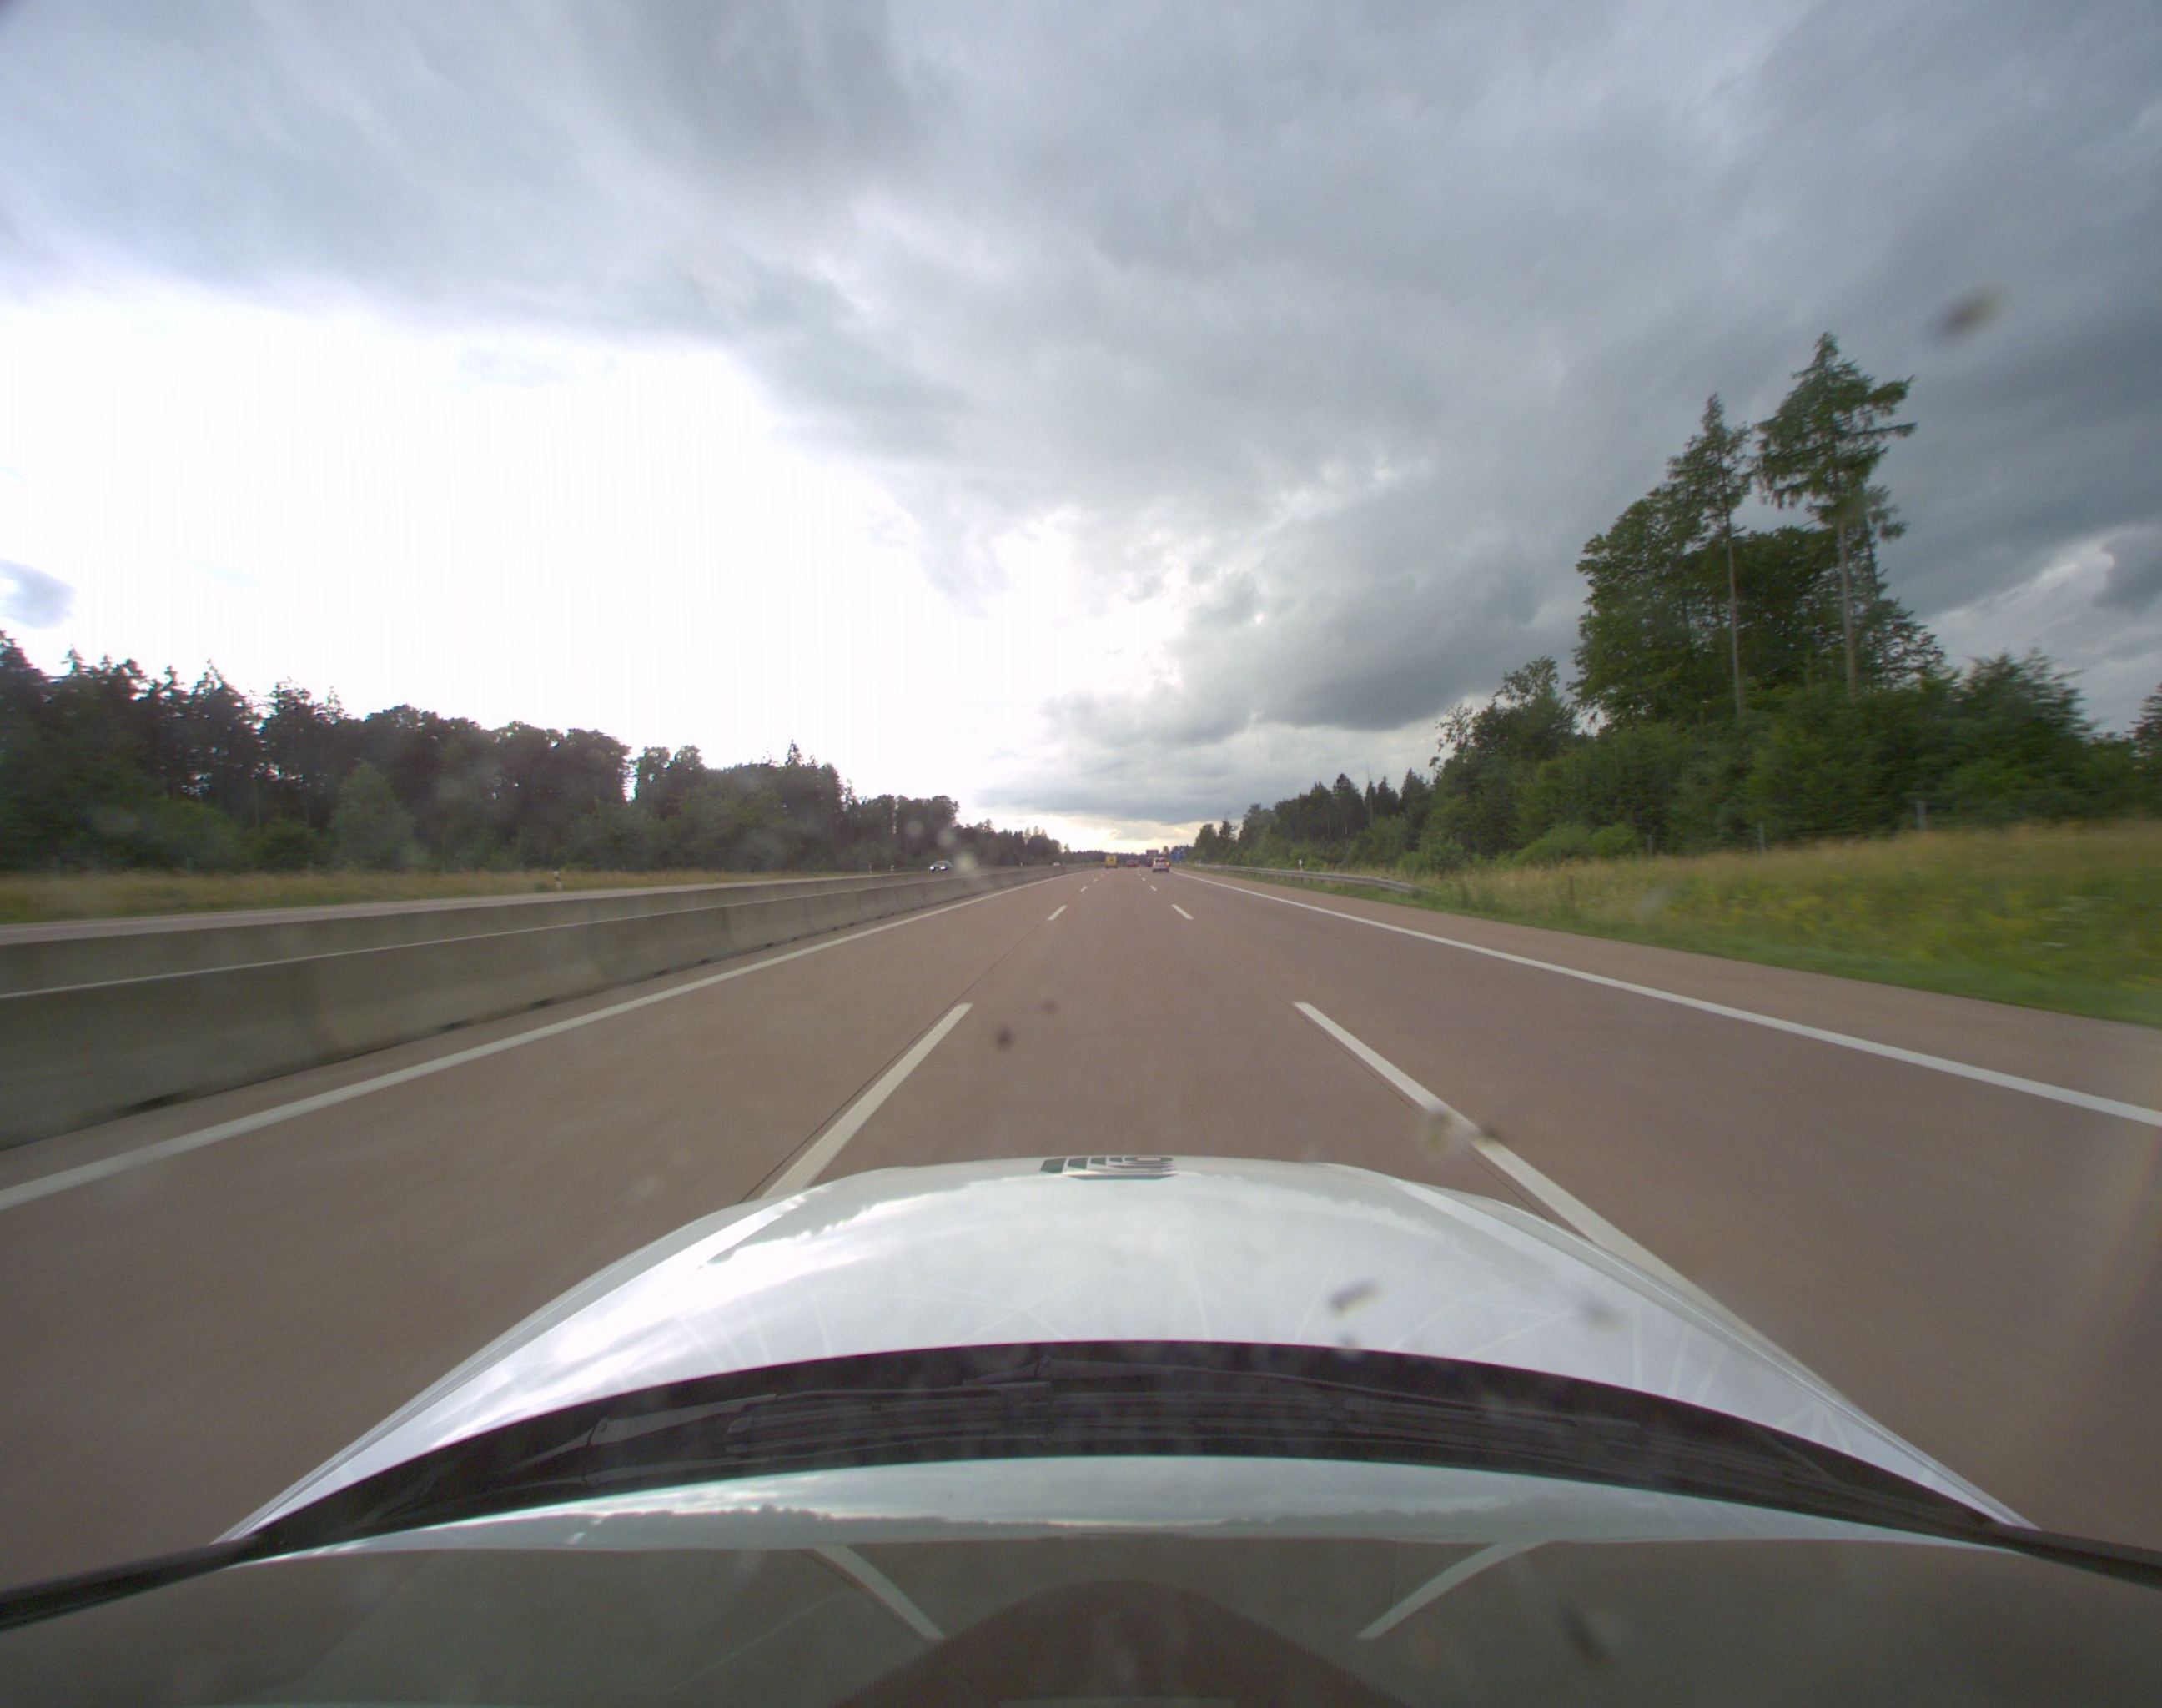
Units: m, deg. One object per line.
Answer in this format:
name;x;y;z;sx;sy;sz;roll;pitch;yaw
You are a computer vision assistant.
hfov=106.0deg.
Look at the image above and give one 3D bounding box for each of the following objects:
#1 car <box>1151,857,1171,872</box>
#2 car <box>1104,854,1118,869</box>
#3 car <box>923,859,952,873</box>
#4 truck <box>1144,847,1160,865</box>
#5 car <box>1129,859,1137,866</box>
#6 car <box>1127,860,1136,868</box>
car;8.710;1.107;88.753;1.969;1.648;4.623;0;0;3
car;5.806;1.434;155.743;2.447;2.706;5.620;-1;-1;4
car;-16.491;1.400;94.001;2.207;1.566;4.854;-1;-1;3
truck;16.661;0.529;190.773;3.663;3.913;12.832;0;-1;5
car;14.207;2.364;221.971;1.878;1.764;5.005;-1;-1;6
car;11.072;2.137;177.705;1.879;1.764;4.786;-1;-1;3
